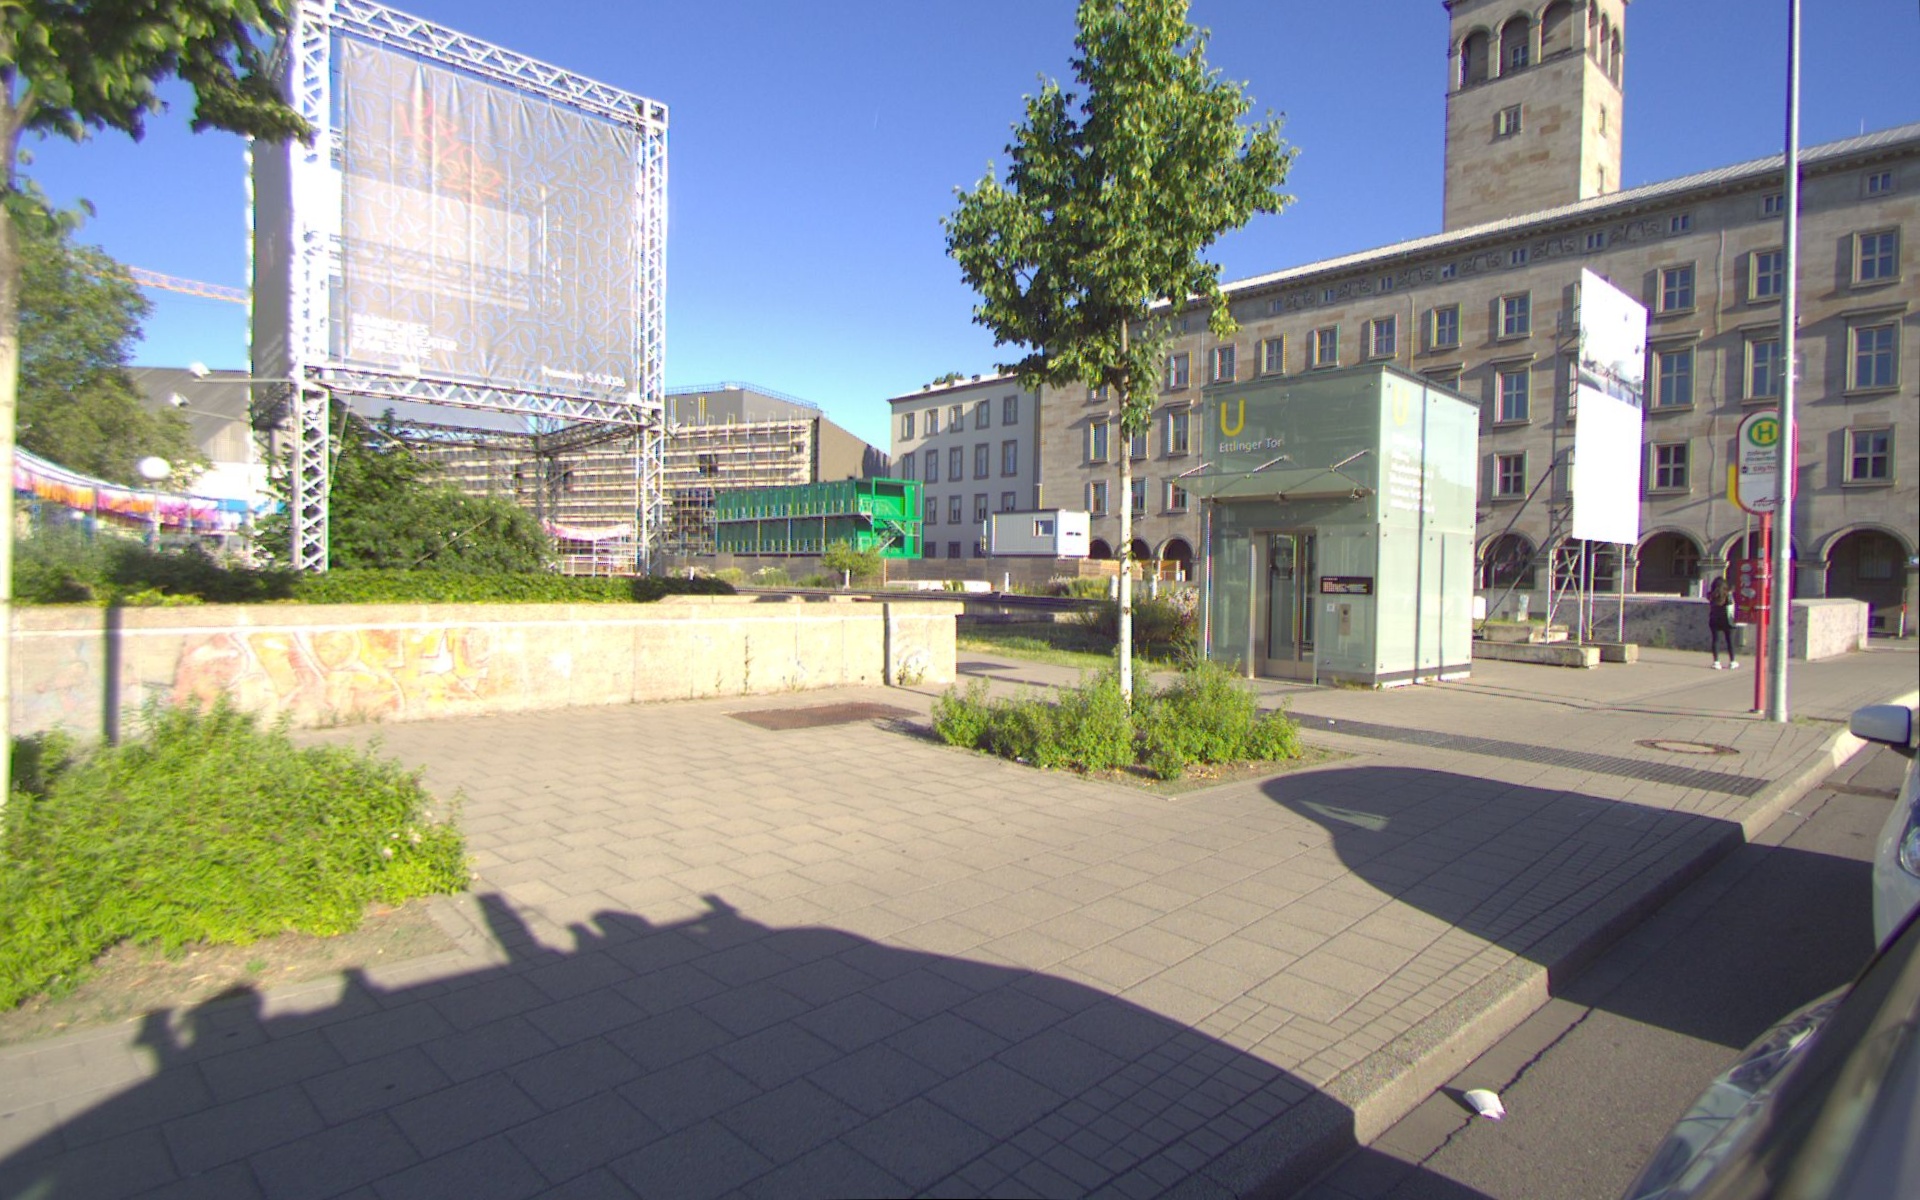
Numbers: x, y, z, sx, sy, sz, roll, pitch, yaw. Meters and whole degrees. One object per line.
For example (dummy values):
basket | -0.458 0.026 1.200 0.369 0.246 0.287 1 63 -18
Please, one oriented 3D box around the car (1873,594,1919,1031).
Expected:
car | 5.116 0.712 4.133 3.822 1.467 1.677 0 0 -42

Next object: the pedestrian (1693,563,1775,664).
pedestrian | 14.754 0.236 19.293 1.053 1.808 0.942 0 3 -41
